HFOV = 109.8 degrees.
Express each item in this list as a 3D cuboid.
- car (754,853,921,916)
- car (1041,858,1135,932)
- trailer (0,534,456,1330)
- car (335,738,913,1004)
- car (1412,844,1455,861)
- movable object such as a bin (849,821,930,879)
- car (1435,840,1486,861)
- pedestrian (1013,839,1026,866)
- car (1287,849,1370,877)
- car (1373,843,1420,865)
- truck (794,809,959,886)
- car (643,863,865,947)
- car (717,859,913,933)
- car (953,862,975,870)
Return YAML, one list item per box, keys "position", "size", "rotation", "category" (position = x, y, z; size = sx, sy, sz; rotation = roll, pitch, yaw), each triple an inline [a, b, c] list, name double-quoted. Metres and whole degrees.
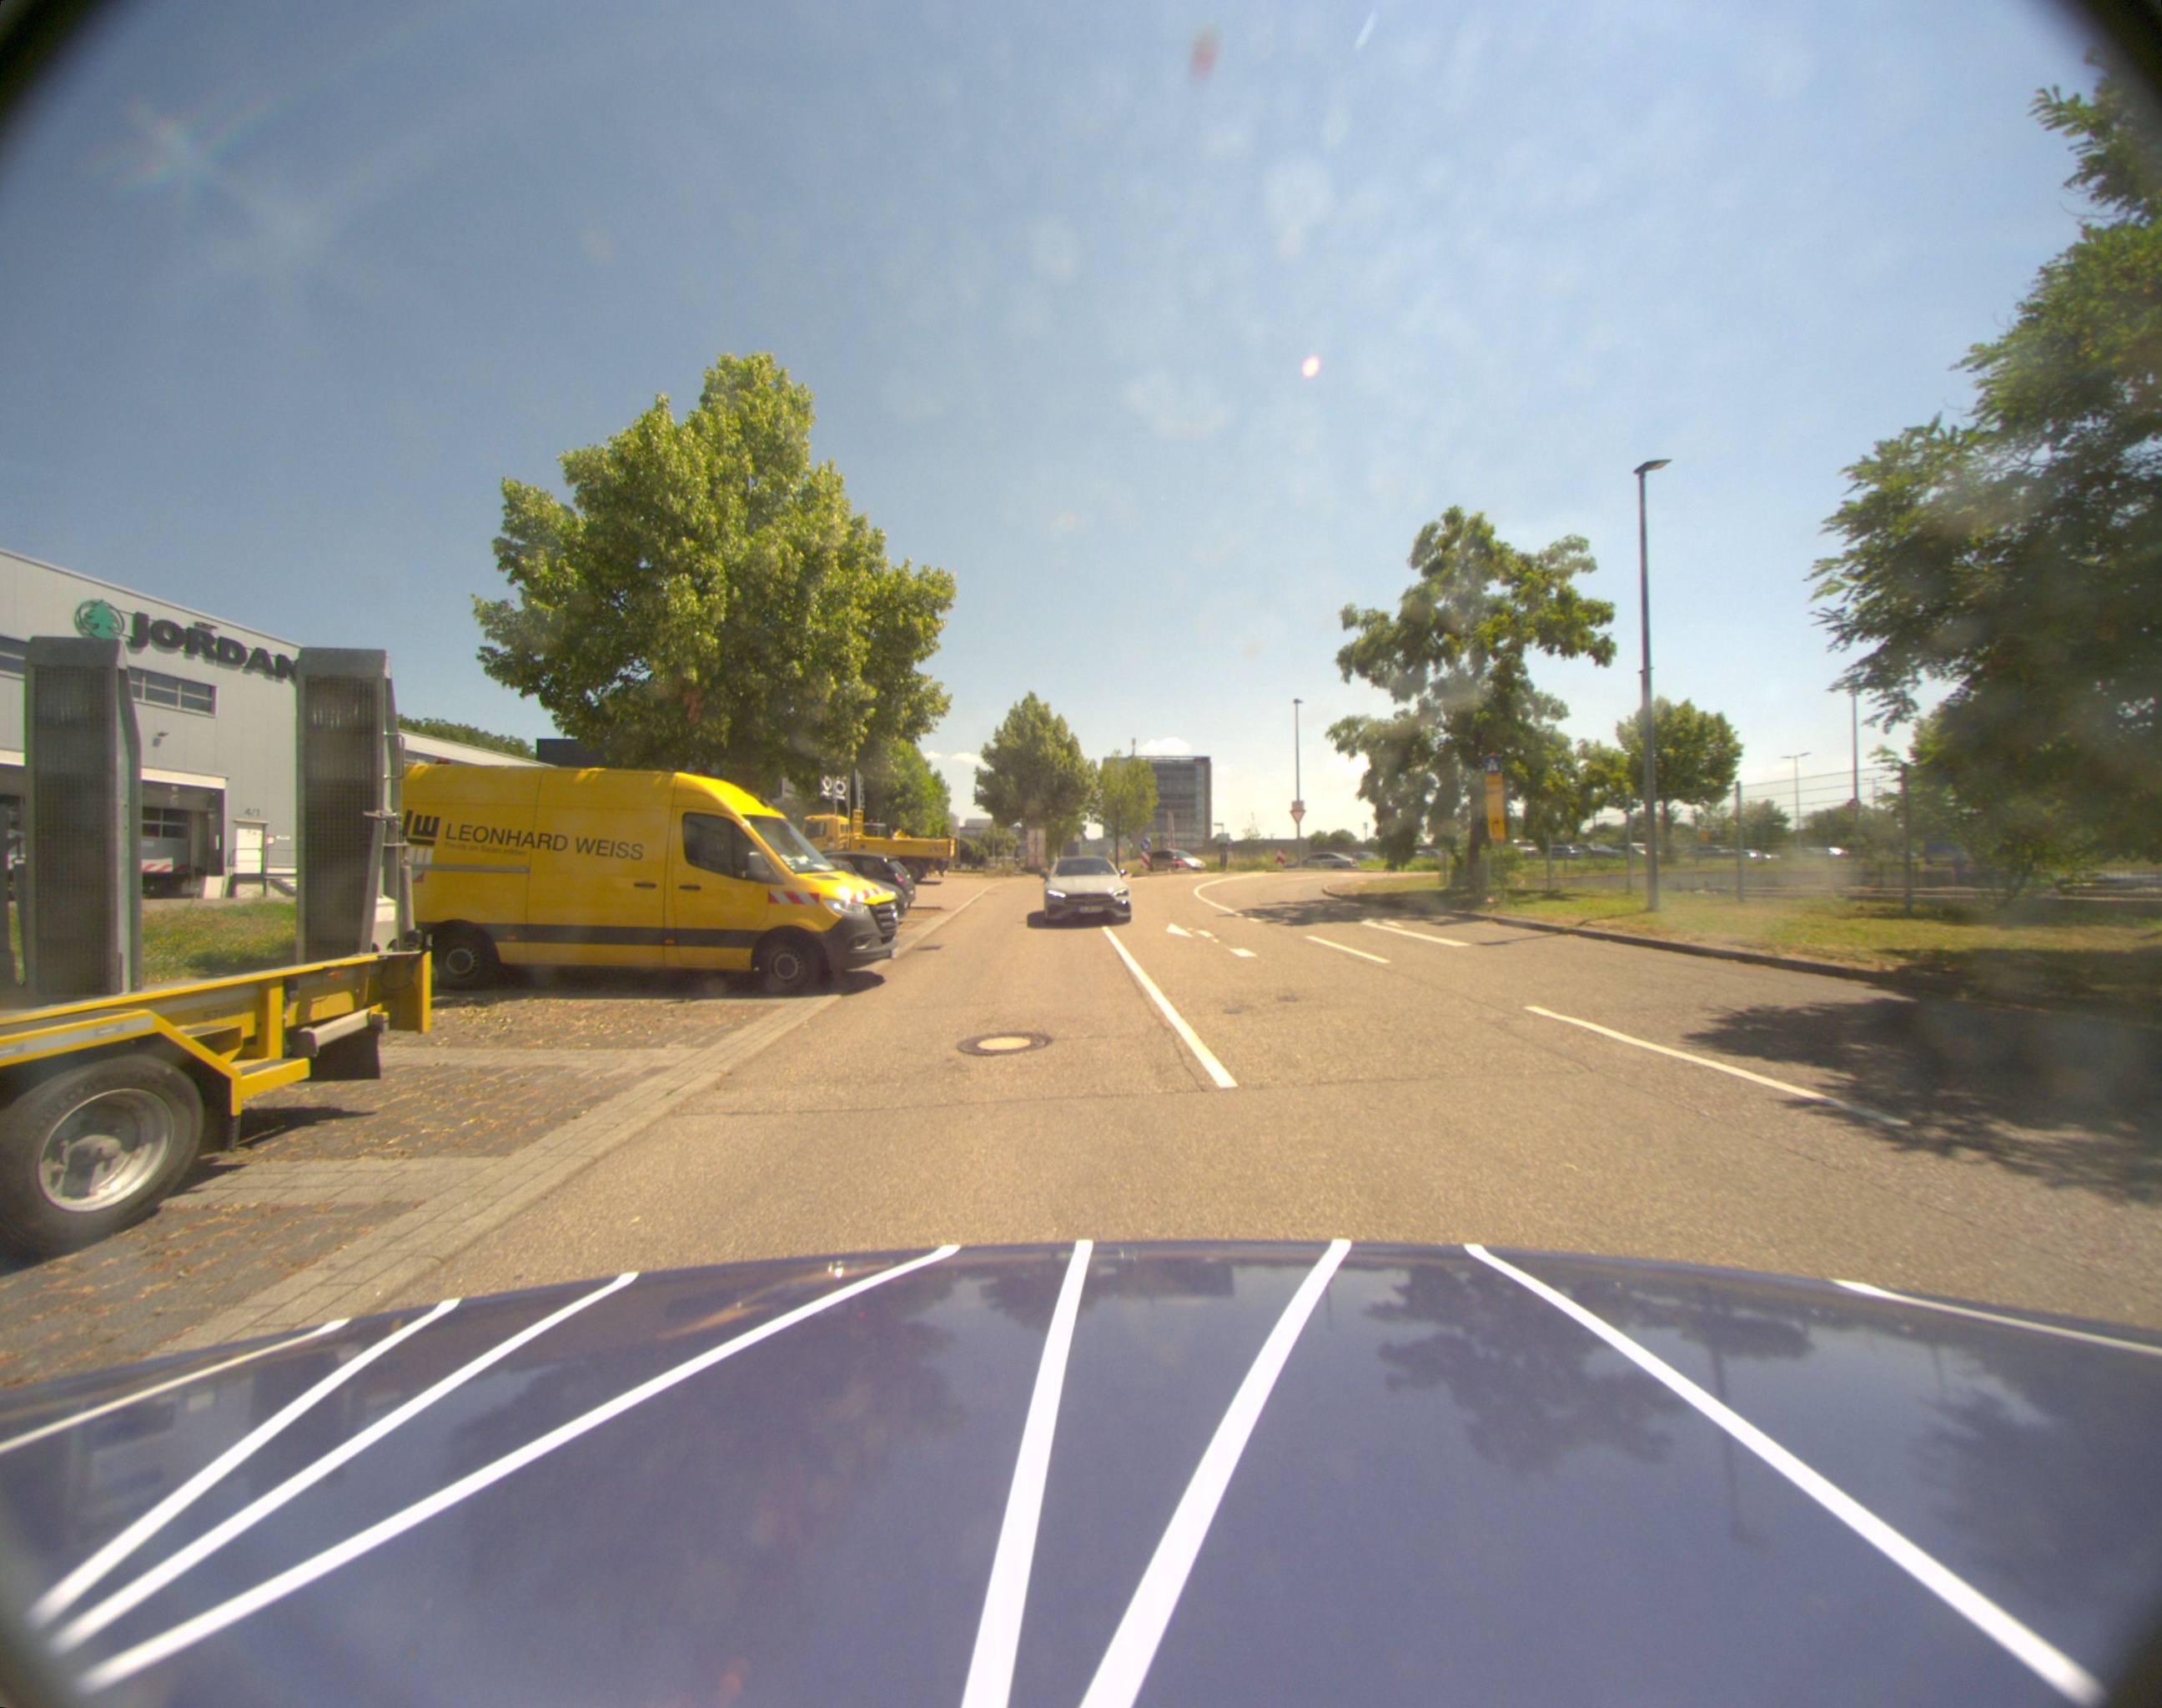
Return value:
- position: [-6.034, 0.739, 19.131]
  size: [3.670, 1.454, 1.626]
  rotation: [1, 0, -2]
  category: "car"
- position: [0.098, 0.845, 17.858]
  size: [1.897, 1.375, 4.632]
  rotation: [-2, 1, -1]
  category: "car"
- position: [-5.120, 0.261, 2.054]
  size: [2.664, 2.840, 5.517]
  rotation: [1, 0, -6]
  category: "trailer"
- position: [-5.262, 0.222, 9.445]
  size: [5.795, 2.716, 2.000]
  rotation: [3, -1, -2]
  category: "car"
- position: [30.249, -0.104, 65.362]
  size: [1.652, 1.354, 3.847]
  rotation: [-1, 0, -4]
  category: "car"
- position: [-9.295, -0.228, 37.519]
  size: [1.998, 2.566, 6.578]
  rotation: [-1, 1, 3]
  category: "movable object such as a bin"
- position: [27.322, -0.199, 54.837]
  size: [1.574, 1.289, 3.878]
  rotation: [-3, -2, -2]
  category: "car"
- position: [-3.987, -0.075, 49.067]
  size: [0.578, 1.659, 0.532]
  rotation: [-3, -3, 25]
  category: "pedestrian"
- position: [15.078, 0.583, 46.419]
  size: [4.486, 1.365, 1.678]
  rotation: [-4, -5, 30]
  category: "car"
- position: [27.160, 0.008, 65.563]
  size: [1.777, 1.679, 4.604]
  rotation: [0, -2, -4]
  category: "car"
- position: [-8.536, -0.299, 32.375]
  size: [6.423, 3.119, 2.593]
  rotation: [0, 1, -7]
  category: "truck"
- position: [-6.237, 0.943, 14.803]
  size: [3.612, 1.470, 1.627]
  rotation: [-1, 0, -4]
  category: "car"
- position: [-5.748, 0.881, 16.763]
  size: [3.781, 1.498, 1.590]
  rotation: [-1, 0, -5]
  category: "car"
- position: [-21.676, 2.241, 141.096]
  size: [3.843, 1.266, 1.609]
  rotation: [-1, 0, -4]
  category: "car"
